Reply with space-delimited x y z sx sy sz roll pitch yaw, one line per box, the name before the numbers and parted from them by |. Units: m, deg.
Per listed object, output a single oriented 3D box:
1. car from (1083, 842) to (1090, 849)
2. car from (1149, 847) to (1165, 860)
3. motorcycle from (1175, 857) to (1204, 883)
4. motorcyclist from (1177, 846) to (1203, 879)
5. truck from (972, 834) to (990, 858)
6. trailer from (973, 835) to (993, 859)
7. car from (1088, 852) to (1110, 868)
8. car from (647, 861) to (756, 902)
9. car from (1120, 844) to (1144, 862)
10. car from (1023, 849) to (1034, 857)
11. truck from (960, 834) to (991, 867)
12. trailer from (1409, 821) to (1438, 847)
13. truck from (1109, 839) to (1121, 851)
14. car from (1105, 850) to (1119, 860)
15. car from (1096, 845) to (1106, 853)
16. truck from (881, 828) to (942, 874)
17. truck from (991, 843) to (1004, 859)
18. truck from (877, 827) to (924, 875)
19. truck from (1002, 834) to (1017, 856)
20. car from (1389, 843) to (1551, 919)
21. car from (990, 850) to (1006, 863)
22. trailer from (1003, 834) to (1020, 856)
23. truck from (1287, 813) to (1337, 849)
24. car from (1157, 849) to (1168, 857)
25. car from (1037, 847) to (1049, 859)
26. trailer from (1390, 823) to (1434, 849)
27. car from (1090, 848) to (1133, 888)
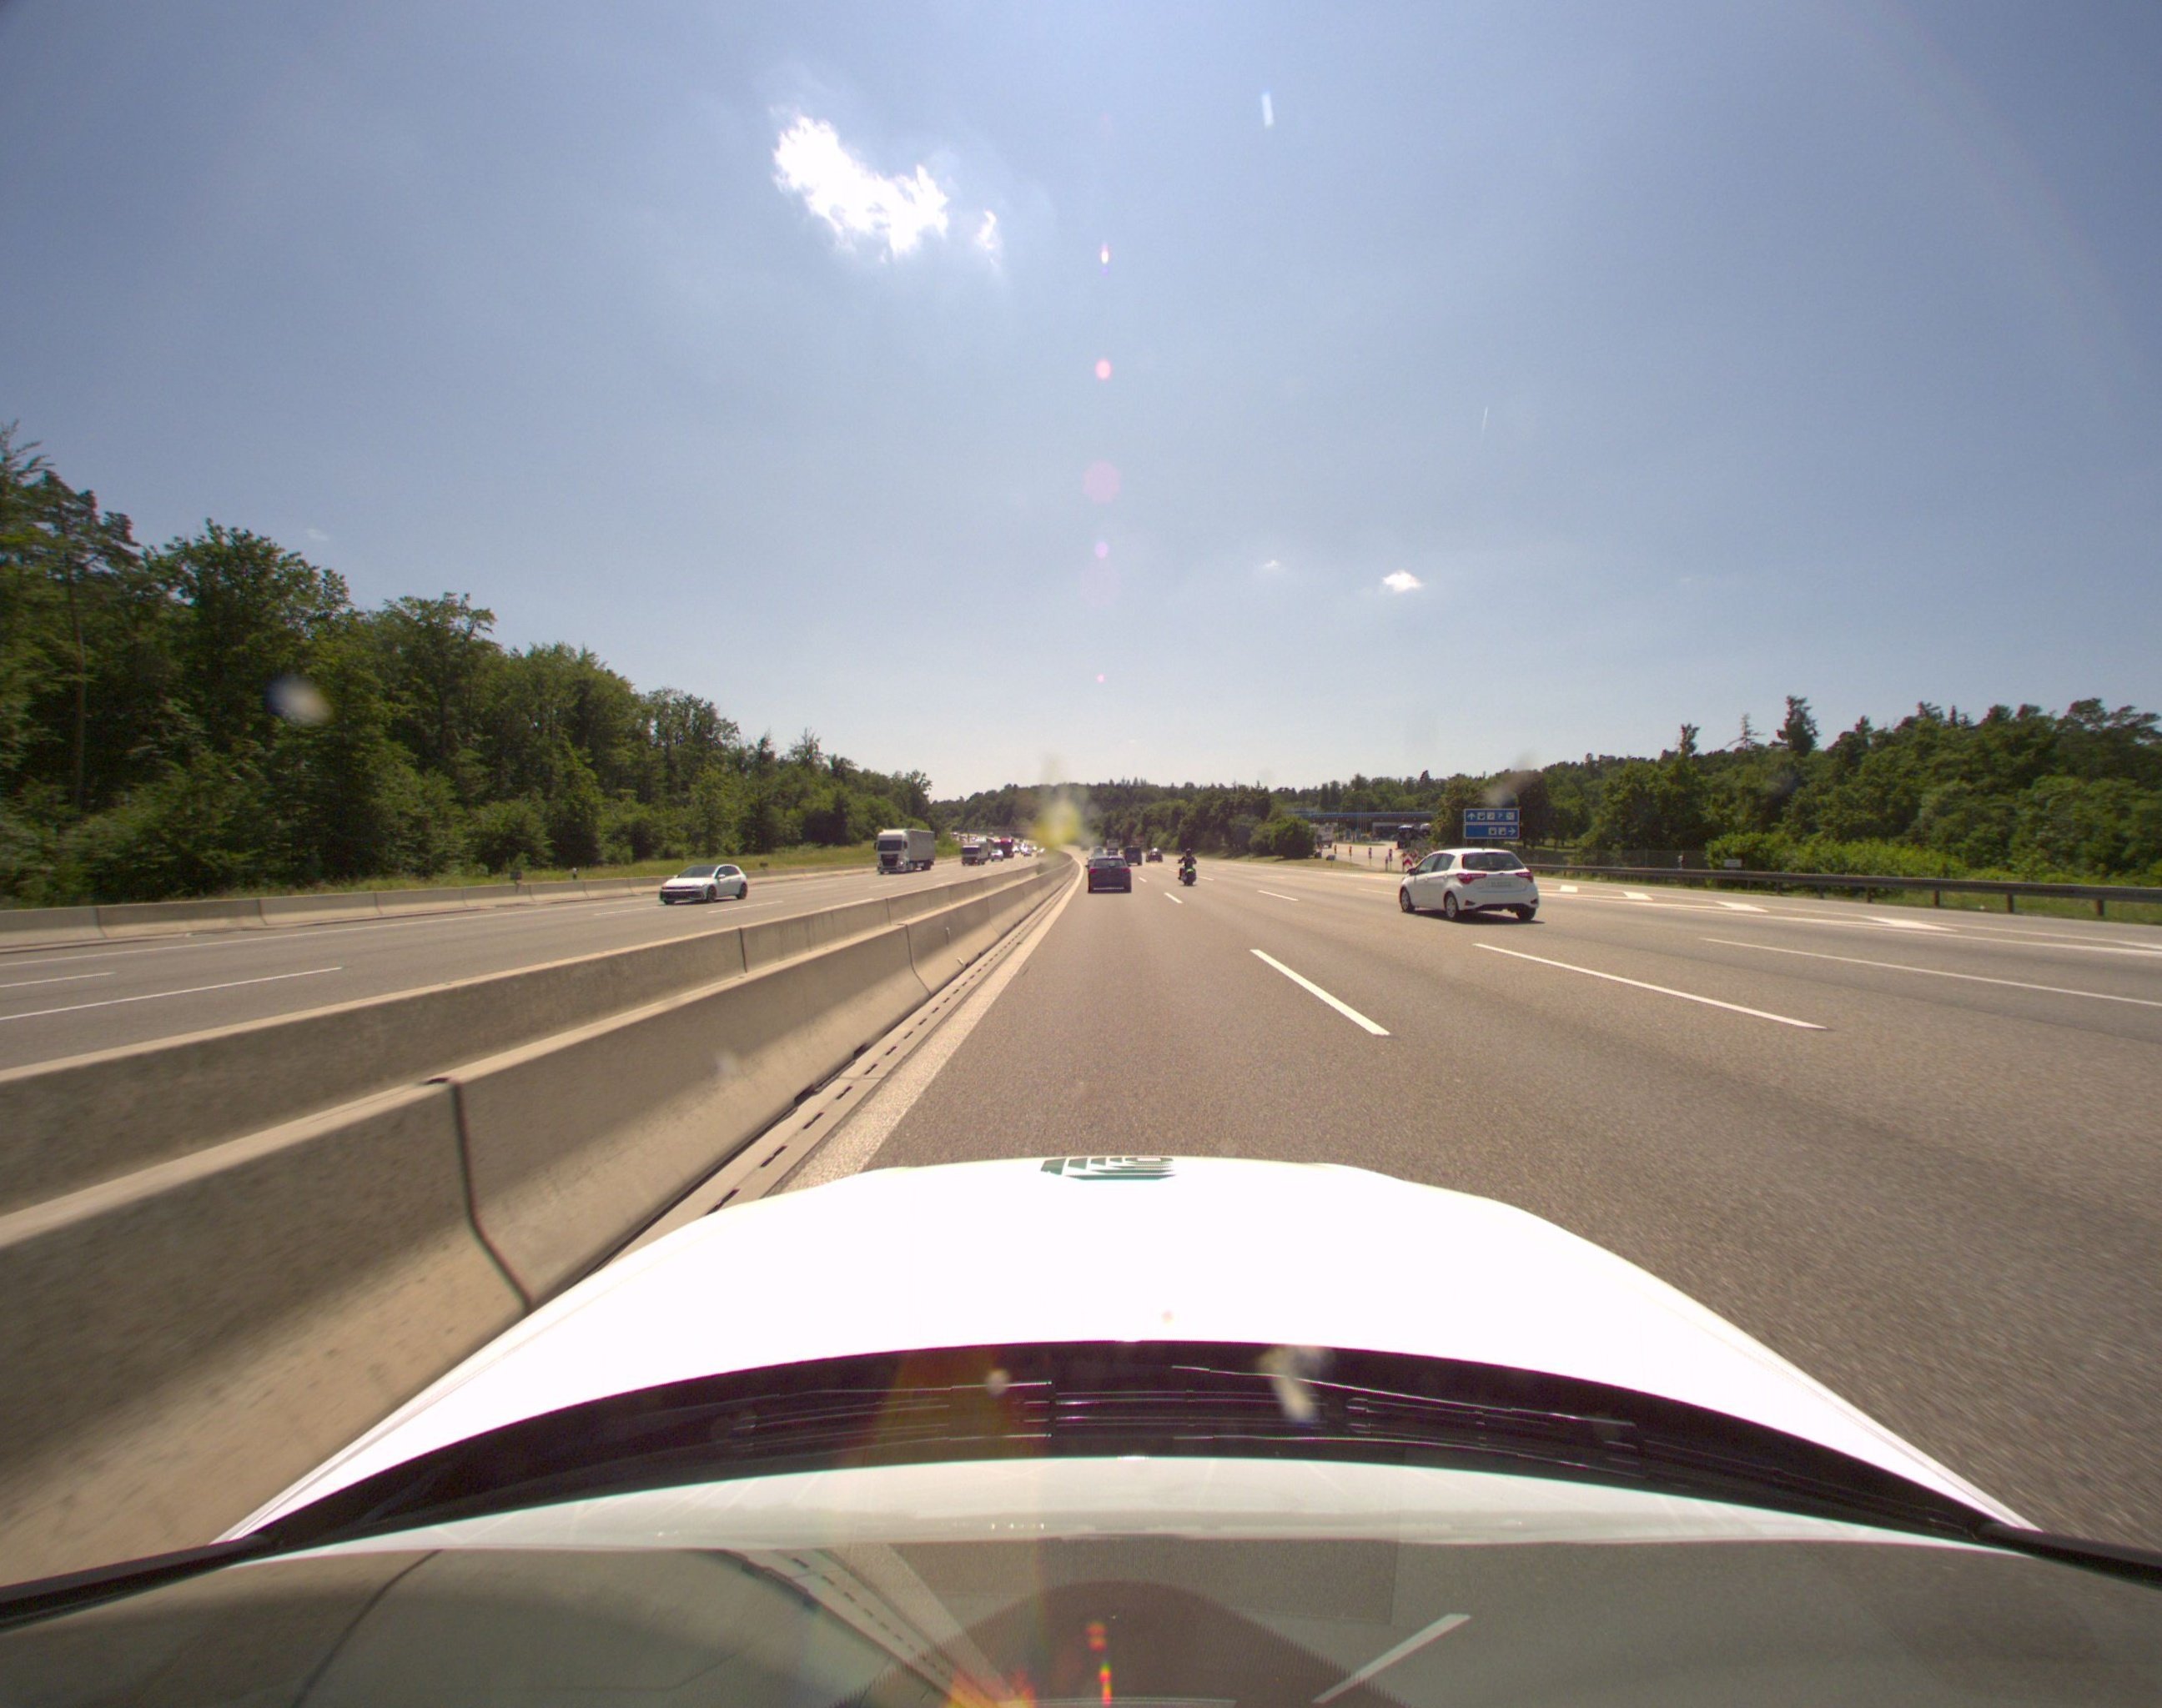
car | 1.635 -2.461 236.582 1.987 2.013 4.673 1 1 -1
car | 9.161 -0.056 98.789 1.669 1.431 3.686 0 0 1
motorcycle | 4.925 0.725 36.956 0.974 1.129 2.270 -1 0 -1
motorcyclist | 4.924 0.381 36.880 0.959 1.437 1.234 -1 0 -1
truck | -18.557 -1.493 151.032 2.494 4.351 6.603 -1 1 -1
trailer | -18.769 -1.501 157.299 2.494 4.350 13.688 -2 1 -2
car | 1.528 0.489 70.235 1.777 1.265 3.459 -2 0 0
car | -14.690 1.017 31.898 1.865 1.480 4.815 0 0 2
car | 5.279 -0.111 84.365 2.091 1.851 4.079 -1 0 -1
car | -11.563 -0.235 178.689 1.987 1.548 4.881 -1 0 0
truck | -13.958 -0.463 108.649 2.522 4.177 9.622 -1 0 2
trailer | 54.890 -3.183 130.544 3.050 3.898 6.003 -1 2 35
truck | 8.360 -2.220 202.032 2.718 2.786 5.681 1 1 -1
car | 4.470 0.152 117.191 1.836 1.222 4.223 1 1 -1
car | 4.020 -1.024 164.664 1.987 1.683 4.422 1 1 -1
truck | -16.782 -0.273 81.758 2.748 4.177 14.511 -1 0 1
truck | -23.554 -0.748 230.088 2.893 4.351 16.537 -1 0 -3
truck | -16.577 -0.238 75.077 2.672 4.177 6.233 -1 0 1
truck | -14.514 -1.882 166.031 2.493 4.351 6.604 -1 1 -1
car | 8.368 0.520 17.972 1.659 1.433 4.379 -1 0 3
car | -13.617 0.434 134.607 1.987 1.970 5.737 -1 0 0
trailer | -14.659 -1.971 171.628 2.494 4.351 14.297 -1 1 -1
truck | 43.271 -4.141 153.616 5.487 6.266 15.438 -1 0 2
car | 13.005 -0.088 129.939 1.602 1.212 3.461 -1 -1 2
car | -7.625 -0.196 163.227 1.987 2.288 5.764 -1 0 0
trailer | 50.863 -2.792 124.798 3.128 3.637 13.710 -1 2 35
car | 1.287 0.551 32.841 1.617 1.487 3.688 -1 -1 4
